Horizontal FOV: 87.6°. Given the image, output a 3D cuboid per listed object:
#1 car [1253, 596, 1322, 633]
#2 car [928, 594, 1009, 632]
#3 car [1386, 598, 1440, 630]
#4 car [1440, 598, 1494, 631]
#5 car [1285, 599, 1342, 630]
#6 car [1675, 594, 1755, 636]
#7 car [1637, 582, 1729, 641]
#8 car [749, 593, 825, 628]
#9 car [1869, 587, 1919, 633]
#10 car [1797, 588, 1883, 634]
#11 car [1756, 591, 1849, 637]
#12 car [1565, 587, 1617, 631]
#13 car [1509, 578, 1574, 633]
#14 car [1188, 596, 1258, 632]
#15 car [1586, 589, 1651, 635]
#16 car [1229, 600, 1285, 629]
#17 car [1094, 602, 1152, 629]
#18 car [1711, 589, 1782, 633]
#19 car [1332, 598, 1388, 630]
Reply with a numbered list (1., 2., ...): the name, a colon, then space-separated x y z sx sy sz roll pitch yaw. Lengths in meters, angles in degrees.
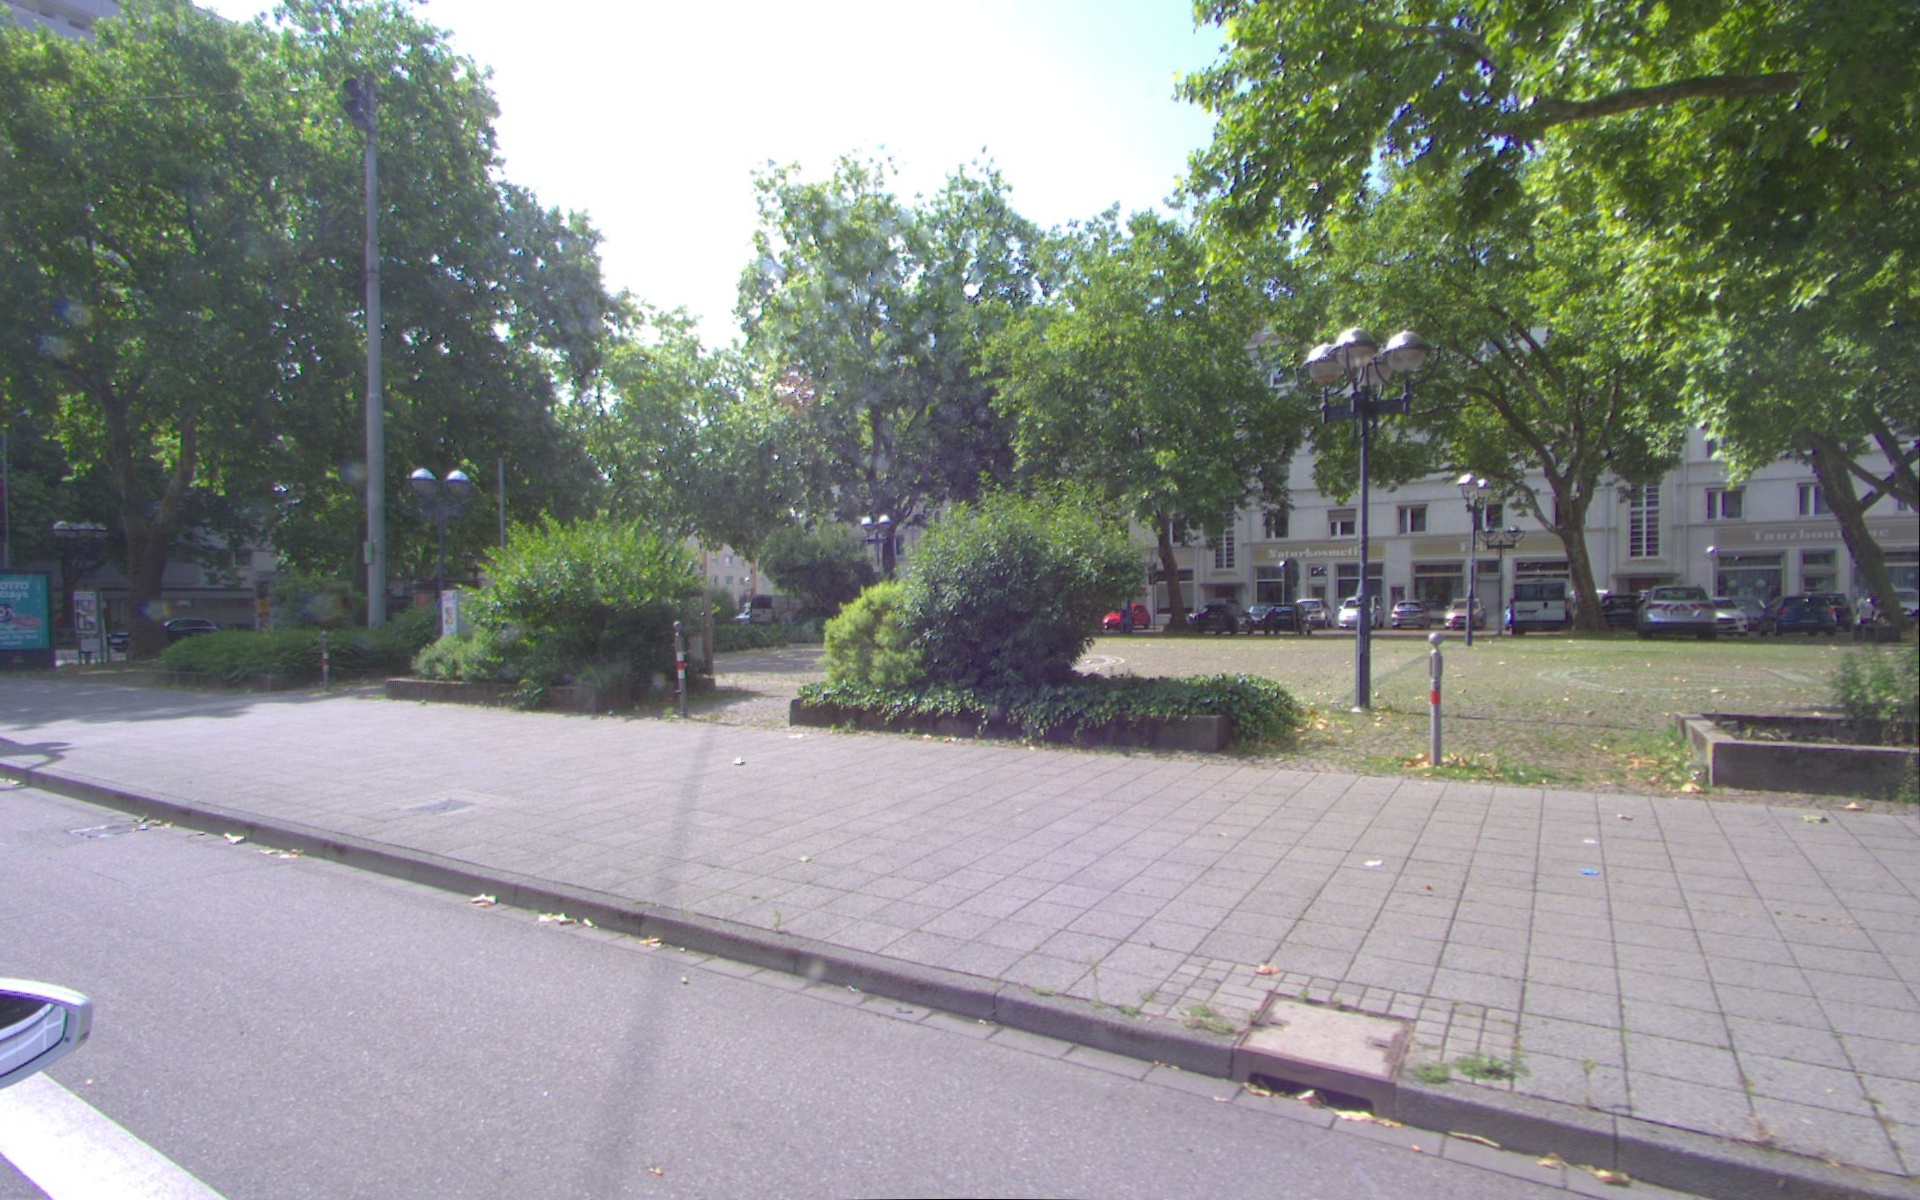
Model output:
1. car: 14.683 0.606 44.775 1.958 1.541 4.245 0 0 32
2. car: 0.524 0.649 54.160 2.161 1.955 4.668 0 0 34
3. car: 23.514 0.704 51.885 1.958 1.570 4.671 0 0 32
4. car: 25.640 0.683 50.573 2.008 1.570 4.671 0 0 32
5. car: 19.197 0.760 54.275 1.958 1.570 4.415 0 0 32
6. car: 27.100 0.503 36.075 1.931 1.440 4.156 0 0 32
7. car: 21.785 0.317 30.307 1.971 1.658 4.143 0 0 32
8. car: -10.368 0.598 60.133 2.048 2.040 4.403 0 0 33
9. car: 39.370 0.379 41.288 2.161 1.828 4.730 0 0 34
10. car: 37.413 0.431 42.686 2.161 1.828 4.668 0 0 34
11. car: 29.875 0.459 35.635 1.971 1.544 4.143 0 0 32
12. car: 30.132 0.405 47.881 2.008 1.955 4.671 0 0 32
13. car: 22.837 0.205 39.265 2.047 2.040 4.245 0 0 32
14. car: 12.200 0.617 46.279 1.958 1.541 4.245 0 0 32
15. car: 24.927 0.422 38.023 1.971 1.615 4.245 0 0 32
16. car: 16.563 0.799 55.751 1.958 1.541 4.245 0 0 32
17. car: 9.862 0.892 60.188 1.958 1.541 4.245 0 0 32
18. car: 35.060 0.466 44.756 2.161 1.828 4.730 0 0 34
19. car: 21.162 0.717 52.846 1.958 1.570 4.671 0 0 32
